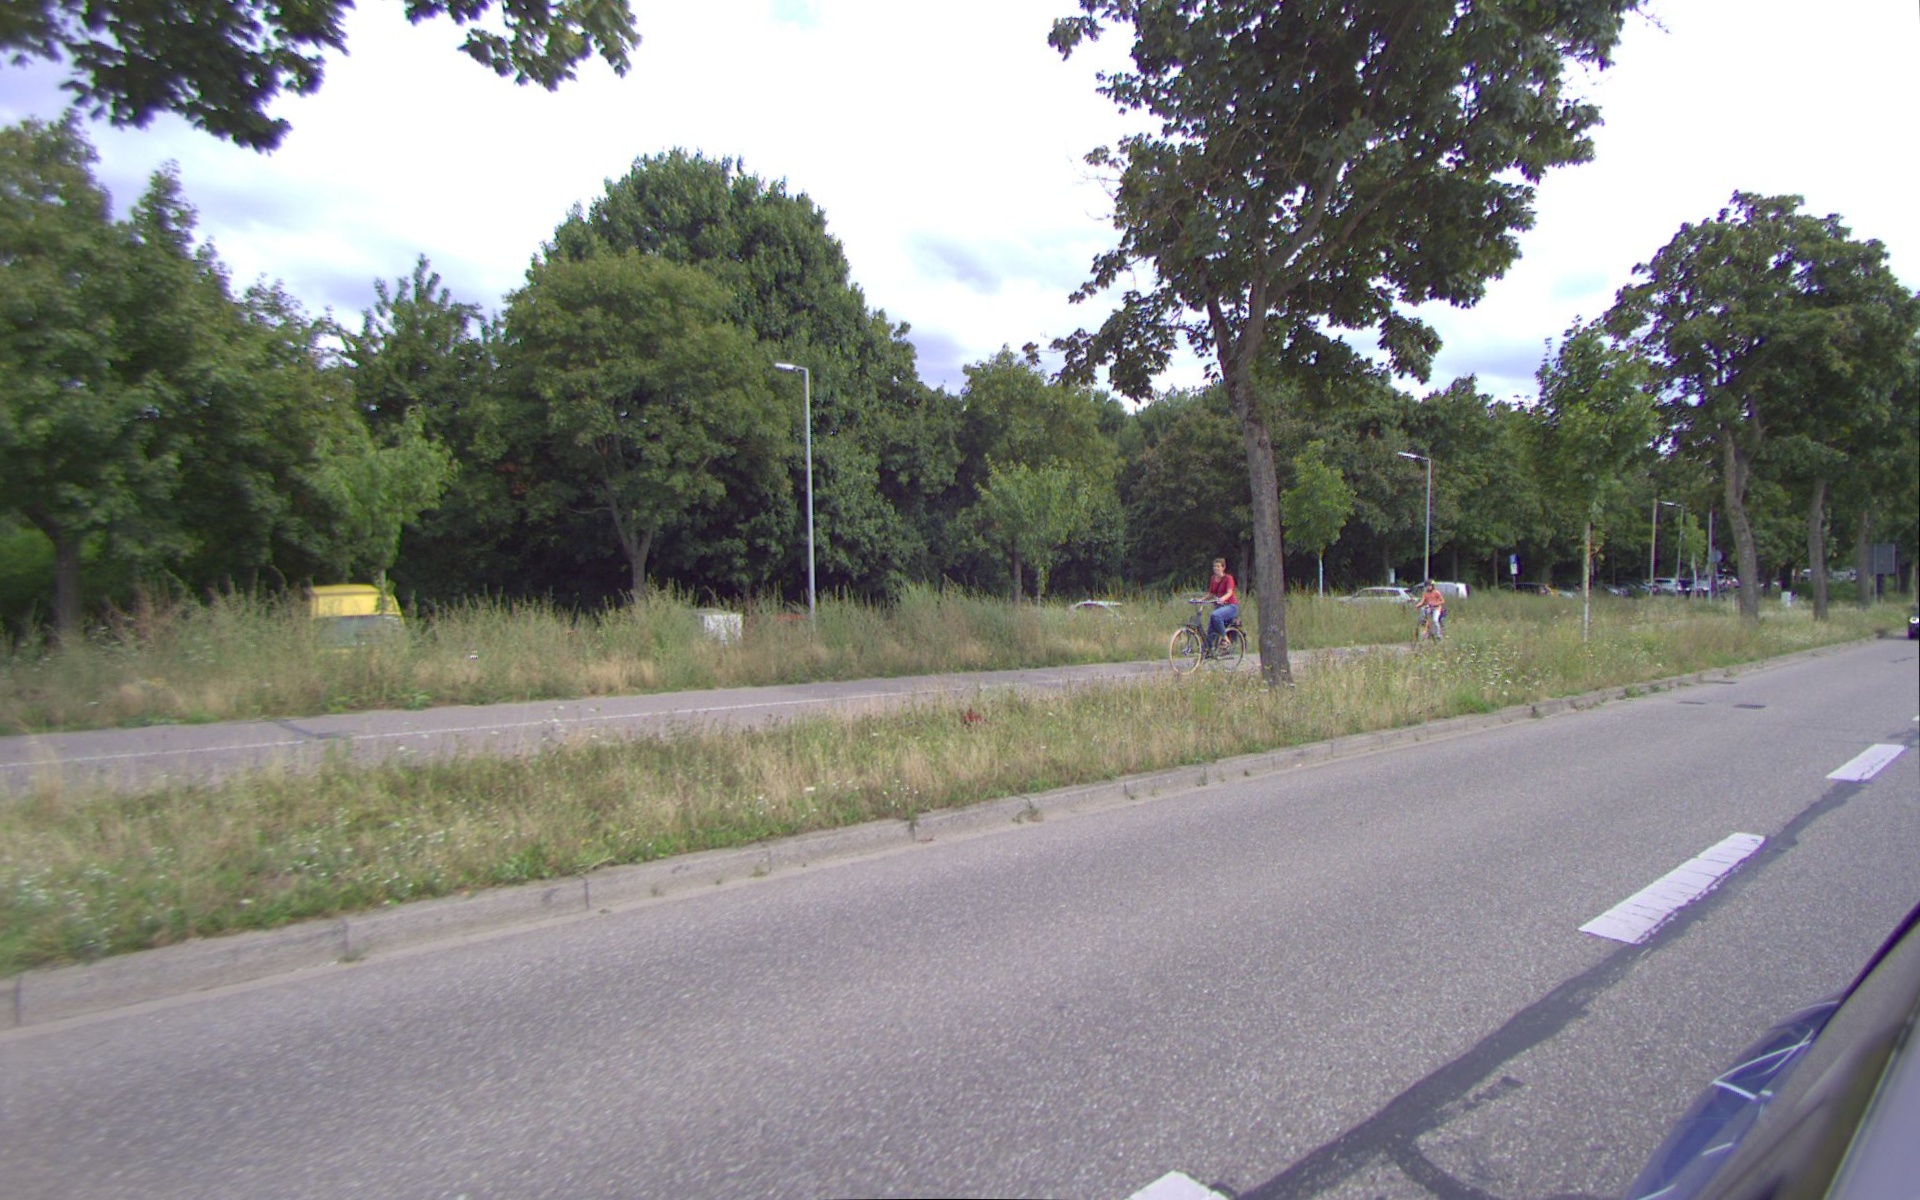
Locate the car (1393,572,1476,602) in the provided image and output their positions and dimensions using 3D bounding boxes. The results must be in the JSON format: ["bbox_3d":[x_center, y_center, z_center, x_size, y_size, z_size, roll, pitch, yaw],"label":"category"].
[{"bbox_3d":[27.249,-0.768,58.190,3.988,1.575,1.625,3,3,44],"label":"car"}]

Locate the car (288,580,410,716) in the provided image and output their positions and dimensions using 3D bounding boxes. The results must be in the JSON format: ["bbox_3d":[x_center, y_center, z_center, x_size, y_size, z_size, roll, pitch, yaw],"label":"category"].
[{"bbox_3d":[-13.823,0.925,22.764,1.890,2.703,4.544,0,1,-37],"label":"car"}]

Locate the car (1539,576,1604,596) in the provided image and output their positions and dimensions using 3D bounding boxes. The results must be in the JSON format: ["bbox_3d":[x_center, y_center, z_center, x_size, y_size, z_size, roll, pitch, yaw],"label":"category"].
[{"bbox_3d":[46.961,-1.119,77.762,3.988,1.383,1.593,3,3,44],"label":"car"}]

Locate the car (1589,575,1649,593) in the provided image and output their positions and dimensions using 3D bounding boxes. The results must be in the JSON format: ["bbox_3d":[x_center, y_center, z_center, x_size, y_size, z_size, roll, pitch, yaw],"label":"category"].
[{"bbox_3d":[55.750,-1.364,85.650,3.988,1.383,1.593,3,3,44],"label":"car"}]

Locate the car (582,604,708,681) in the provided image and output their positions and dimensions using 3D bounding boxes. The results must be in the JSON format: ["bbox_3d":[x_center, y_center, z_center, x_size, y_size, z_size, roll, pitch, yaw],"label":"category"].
[{"bbox_3d":[-9.033,1.132,28.835,1.966,1.816,3.994,0,2,-41],"label":"car"}]

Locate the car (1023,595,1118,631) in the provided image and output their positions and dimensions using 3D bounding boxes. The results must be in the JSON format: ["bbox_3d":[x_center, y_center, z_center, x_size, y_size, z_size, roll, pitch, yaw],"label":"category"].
[{"bbox_3d":[4.063,0.442,37.581,3.439,1.206,1.336,2,1,44],"label":"car"}]

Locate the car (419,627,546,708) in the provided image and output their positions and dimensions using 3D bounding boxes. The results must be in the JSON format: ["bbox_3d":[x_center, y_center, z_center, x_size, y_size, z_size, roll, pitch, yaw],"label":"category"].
[{"bbox_3d":[-11.800,1.570,24.892,1.964,1.526,3.997,0,2,-38],"label":"car"}]

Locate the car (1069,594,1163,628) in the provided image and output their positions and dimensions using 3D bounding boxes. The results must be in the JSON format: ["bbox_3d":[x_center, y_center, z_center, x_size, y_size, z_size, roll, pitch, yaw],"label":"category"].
[{"bbox_3d":[5.950,0.394,38.869,3.439,1.206,1.336,2,1,44],"label":"car"}]

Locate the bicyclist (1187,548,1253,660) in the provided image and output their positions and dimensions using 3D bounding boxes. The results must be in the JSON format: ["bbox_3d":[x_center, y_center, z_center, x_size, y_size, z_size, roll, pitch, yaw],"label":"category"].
[{"bbox_3d":[4.016,0.055,15.648,0.767,1.678,0.653,-1,0,-41],"label":"bicyclist"}]

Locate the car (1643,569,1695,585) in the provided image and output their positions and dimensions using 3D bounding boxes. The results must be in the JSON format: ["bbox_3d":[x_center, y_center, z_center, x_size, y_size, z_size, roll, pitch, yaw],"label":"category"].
[{"bbox_3d":[70.240,-2.290,100.322,3.988,1.383,1.593,3,3,44],"label":"car"}]

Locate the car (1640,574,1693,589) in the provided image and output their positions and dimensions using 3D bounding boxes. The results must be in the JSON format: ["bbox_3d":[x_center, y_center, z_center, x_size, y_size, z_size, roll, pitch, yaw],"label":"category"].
[{"bbox_3d":[68.444,-1.808,98.054,3.988,1.383,1.593,3,3,44],"label":"car"}]

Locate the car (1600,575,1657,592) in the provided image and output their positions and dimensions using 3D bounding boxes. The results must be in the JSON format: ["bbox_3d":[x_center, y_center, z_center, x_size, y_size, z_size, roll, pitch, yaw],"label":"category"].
[{"bbox_3d":[59.031,-1.468,89.378,3.988,1.383,1.593,3,3,44],"label":"car"}]

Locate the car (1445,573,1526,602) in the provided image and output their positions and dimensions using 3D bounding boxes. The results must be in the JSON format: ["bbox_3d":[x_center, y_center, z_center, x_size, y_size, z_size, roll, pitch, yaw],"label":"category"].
[{"bbox_3d":[31.769,-0.768,61.214,1.773,1.605,3.992,-1,3,-43],"label":"car"}]

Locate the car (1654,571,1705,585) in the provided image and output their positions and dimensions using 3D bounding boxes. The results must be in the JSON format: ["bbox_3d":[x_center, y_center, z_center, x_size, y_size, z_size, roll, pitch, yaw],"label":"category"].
[{"bbox_3d":[73.279,-2.250,103.094,3.988,1.383,1.593,3,3,44],"label":"car"}]

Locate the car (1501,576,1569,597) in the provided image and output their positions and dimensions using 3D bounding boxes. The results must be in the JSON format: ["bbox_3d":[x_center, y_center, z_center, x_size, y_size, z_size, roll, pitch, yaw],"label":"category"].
[{"bbox_3d":[41.659,-1.006,73.368,3.988,1.383,1.593,3,3,44],"label":"car"}]

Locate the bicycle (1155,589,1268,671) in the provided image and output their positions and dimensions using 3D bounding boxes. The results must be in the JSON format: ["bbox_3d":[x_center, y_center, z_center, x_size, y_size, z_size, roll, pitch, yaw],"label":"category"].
[{"bbox_3d":[3.900,0.423,15.582,2.193,1.162,0.514,-1,2,-41],"label":"bicycle"}]

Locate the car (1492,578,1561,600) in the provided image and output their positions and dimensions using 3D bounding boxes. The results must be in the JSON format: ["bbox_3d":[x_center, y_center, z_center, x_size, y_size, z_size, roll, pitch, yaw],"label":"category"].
[{"bbox_3d":[39.955,-0.787,71.455,3.988,1.383,1.593,3,3,44],"label":"car"}]

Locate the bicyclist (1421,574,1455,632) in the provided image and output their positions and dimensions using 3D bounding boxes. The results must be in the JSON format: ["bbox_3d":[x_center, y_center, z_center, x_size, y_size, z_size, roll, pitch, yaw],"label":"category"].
[{"bbox_3d":[10.844,0.055,22.960,0.442,1.298,0.539,-1,0,-41],"label":"bicyclist"}]

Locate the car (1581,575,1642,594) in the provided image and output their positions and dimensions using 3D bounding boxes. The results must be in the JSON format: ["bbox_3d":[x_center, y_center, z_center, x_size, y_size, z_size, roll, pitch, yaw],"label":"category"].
[{"bbox_3d":[53.956,-1.292,83.882,3.988,1.383,1.593,3,3,44],"label":"car"}]

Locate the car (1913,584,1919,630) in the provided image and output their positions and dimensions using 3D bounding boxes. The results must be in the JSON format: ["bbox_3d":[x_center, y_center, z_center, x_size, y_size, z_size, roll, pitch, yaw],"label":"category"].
[{"bbox_3d":[32.734,0.217,32.954,4.244,1.465,1.773,-1,1,-37],"label":"car"}]

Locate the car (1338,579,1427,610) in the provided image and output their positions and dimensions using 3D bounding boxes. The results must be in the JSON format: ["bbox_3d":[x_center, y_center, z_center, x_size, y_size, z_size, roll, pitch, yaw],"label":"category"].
[{"bbox_3d":[22.173,-0.326,53.195,3.988,1.461,1.625,3,3,44],"label":"car"}]

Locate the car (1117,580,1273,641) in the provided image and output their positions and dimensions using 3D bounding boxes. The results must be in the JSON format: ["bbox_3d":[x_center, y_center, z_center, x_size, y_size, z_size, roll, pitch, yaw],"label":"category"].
[{"bbox_3d":[6.174,0.218,26.871,3.802,1.392,1.513,3,3,44],"label":"car"}]

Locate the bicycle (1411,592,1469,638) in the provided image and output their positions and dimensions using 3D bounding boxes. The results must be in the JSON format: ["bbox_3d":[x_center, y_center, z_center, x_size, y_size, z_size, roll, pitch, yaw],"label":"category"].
[{"bbox_3d":[10.938,0.318,23.058,1.751,0.976,0.514,-1,2,-41],"label":"bicycle"}]

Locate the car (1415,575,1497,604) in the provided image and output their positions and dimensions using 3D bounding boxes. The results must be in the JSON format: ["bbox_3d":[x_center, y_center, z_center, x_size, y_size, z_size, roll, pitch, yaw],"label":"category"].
[{"bbox_3d":[29.608,-0.670,60.491,1.773,1.605,3.992,-1,3,-43],"label":"car"}]

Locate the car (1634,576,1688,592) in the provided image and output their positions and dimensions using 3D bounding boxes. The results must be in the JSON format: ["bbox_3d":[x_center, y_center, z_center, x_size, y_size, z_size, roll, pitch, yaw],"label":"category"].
[{"bbox_3d":[66.471,-1.564,96.032,3.988,1.383,1.593,3,3,44],"label":"car"}]
